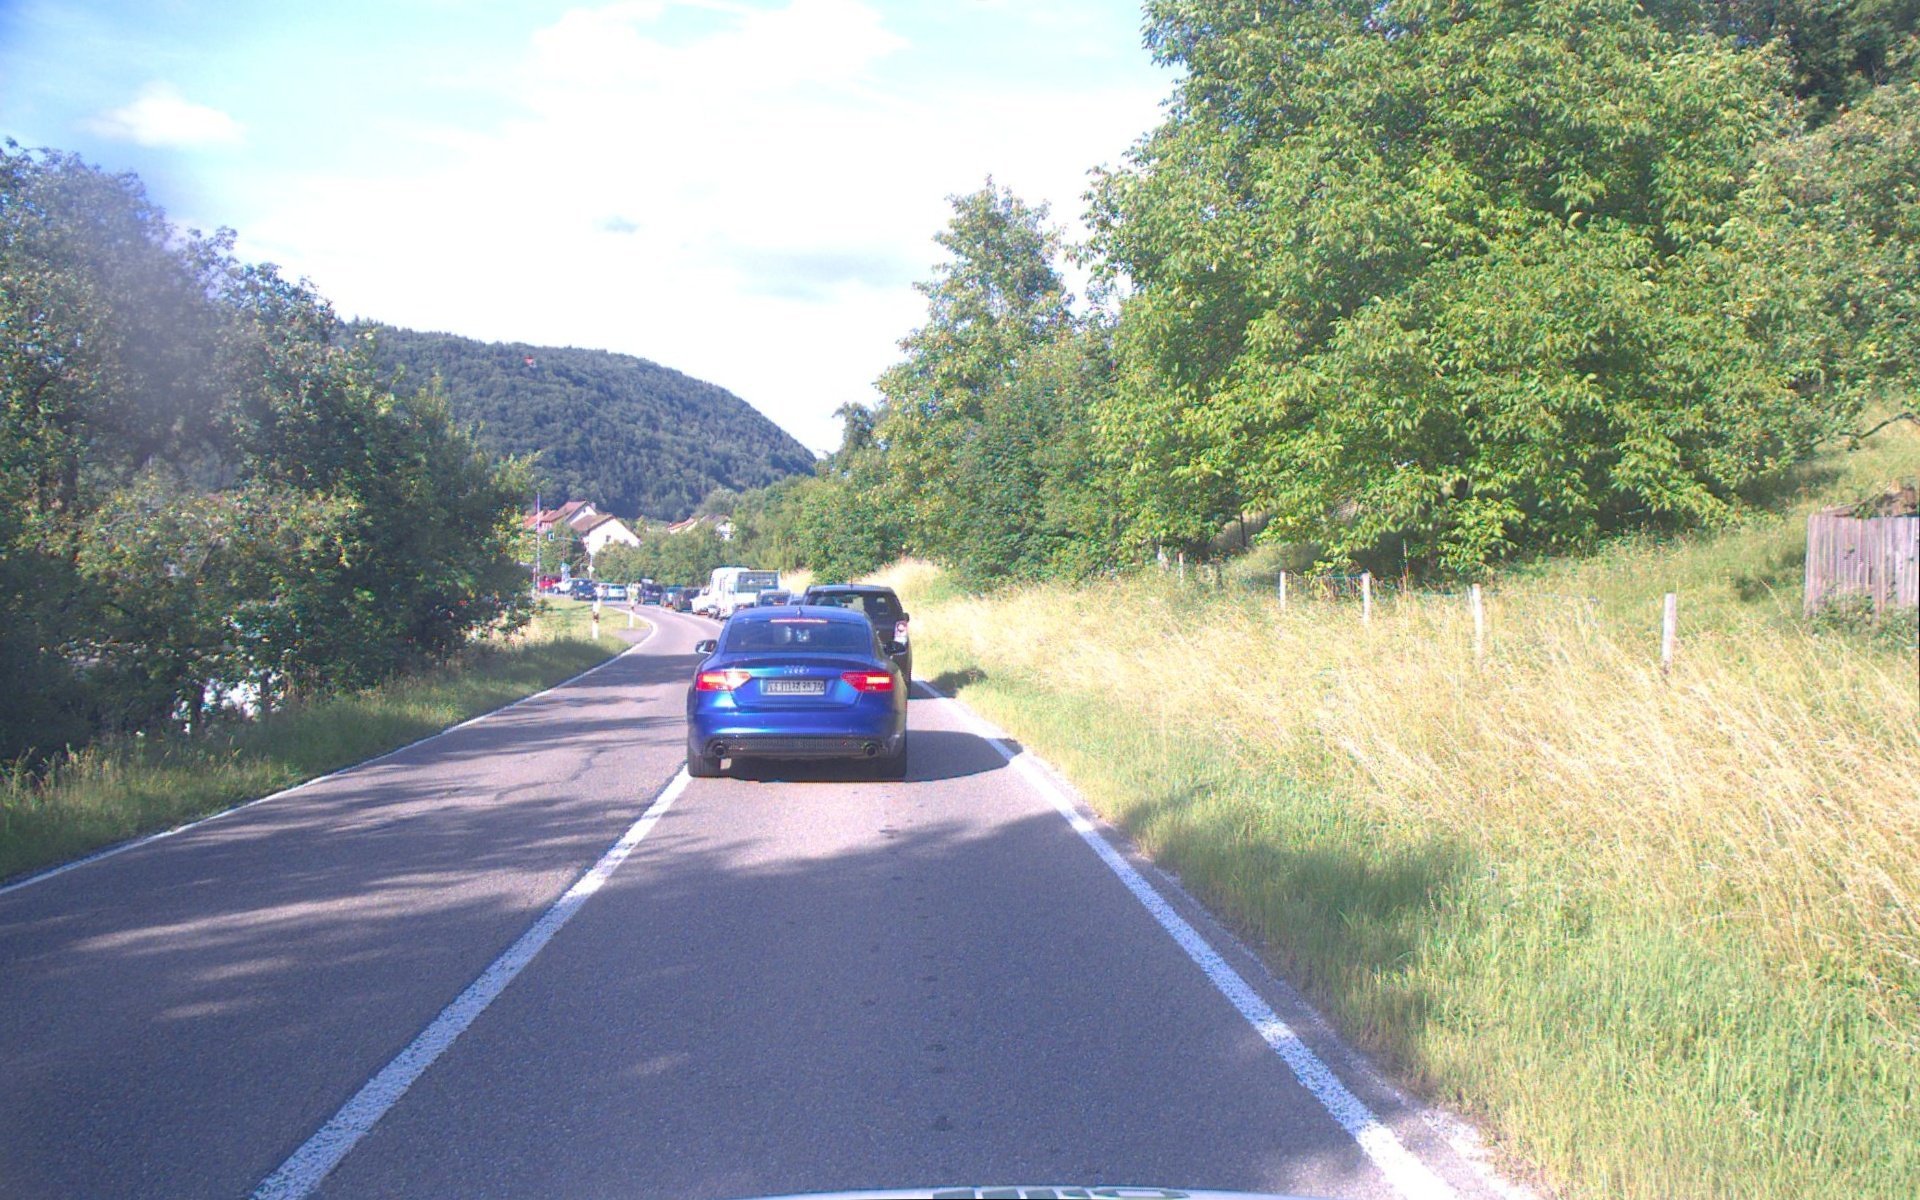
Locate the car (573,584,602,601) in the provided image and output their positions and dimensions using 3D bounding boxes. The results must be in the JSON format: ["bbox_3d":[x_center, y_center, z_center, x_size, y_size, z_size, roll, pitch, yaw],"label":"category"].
[{"bbox_3d":[-32.766,-0.661,145.519,1.964,1.400,3.976,1,0,-20],"label":"car"}]

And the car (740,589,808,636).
[{"bbox_3d":[-6.333,0.406,55.921,1.958,1.508,3.989,1,0,-11],"label":"car"}]

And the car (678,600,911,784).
[{"bbox_3d":[-1.313,0.697,14.537,1.757,1.383,3.999,0,0,-2],"label":"car"}]

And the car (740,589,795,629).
[{"bbox_3d":[-7.709,0.361,66.101,1.957,1.508,3.991,1,0,-10],"label":"car"}]

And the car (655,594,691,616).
[{"bbox_3d":[-20.962,0.357,120.712,1.963,1.508,3.978,1,0,-19],"label":"car"}]

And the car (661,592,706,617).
[{"bbox_3d":[-17.380,0.285,103.829,1.966,1.508,3.972,1,0,-23],"label":"car"}]

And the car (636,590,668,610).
[{"bbox_3d":[-24.524,0.006,131.453,1.963,1.508,3.978,1,0,-19],"label":"car"}]

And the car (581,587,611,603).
[{"bbox_3d":[-34.289,-0.445,155.743,1.968,1.508,3.969,1,0,-25],"label":"car"}]

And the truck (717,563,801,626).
[{"bbox_3d":[-9.552,-0.253,77.722,2.815,2.712,10.357,1,0,-13],"label":"truck"}]

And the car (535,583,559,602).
[{"bbox_3d":[-46.534,-0.855,186.470,1.967,2.049,3.971,1,0,-24],"label":"car"}]

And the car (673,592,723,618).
[{"bbox_3d":[-15.298,0.286,96.451,1.966,1.508,3.972,1,0,-23],"label":"car"}]

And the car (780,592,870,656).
[{"bbox_3d":[-3.155,0.547,39.300,1.954,1.411,3.998,1,0,-3],"label":"car"}]

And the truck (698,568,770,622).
[{"bbox_3d":[-12.259,-0.264,88.941,2.815,2.712,10.608,1,0,-13],"label":"truck"}]

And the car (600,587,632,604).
[{"bbox_3d":[-30.926,-0.422,148.572,1.968,1.508,3.969,1,0,-25],"label":"car"}]

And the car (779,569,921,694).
[{"bbox_3d":[-1.621,0.449,25.117,1.954,1.732,3.998,1,0,-3],"label":"car"}]
